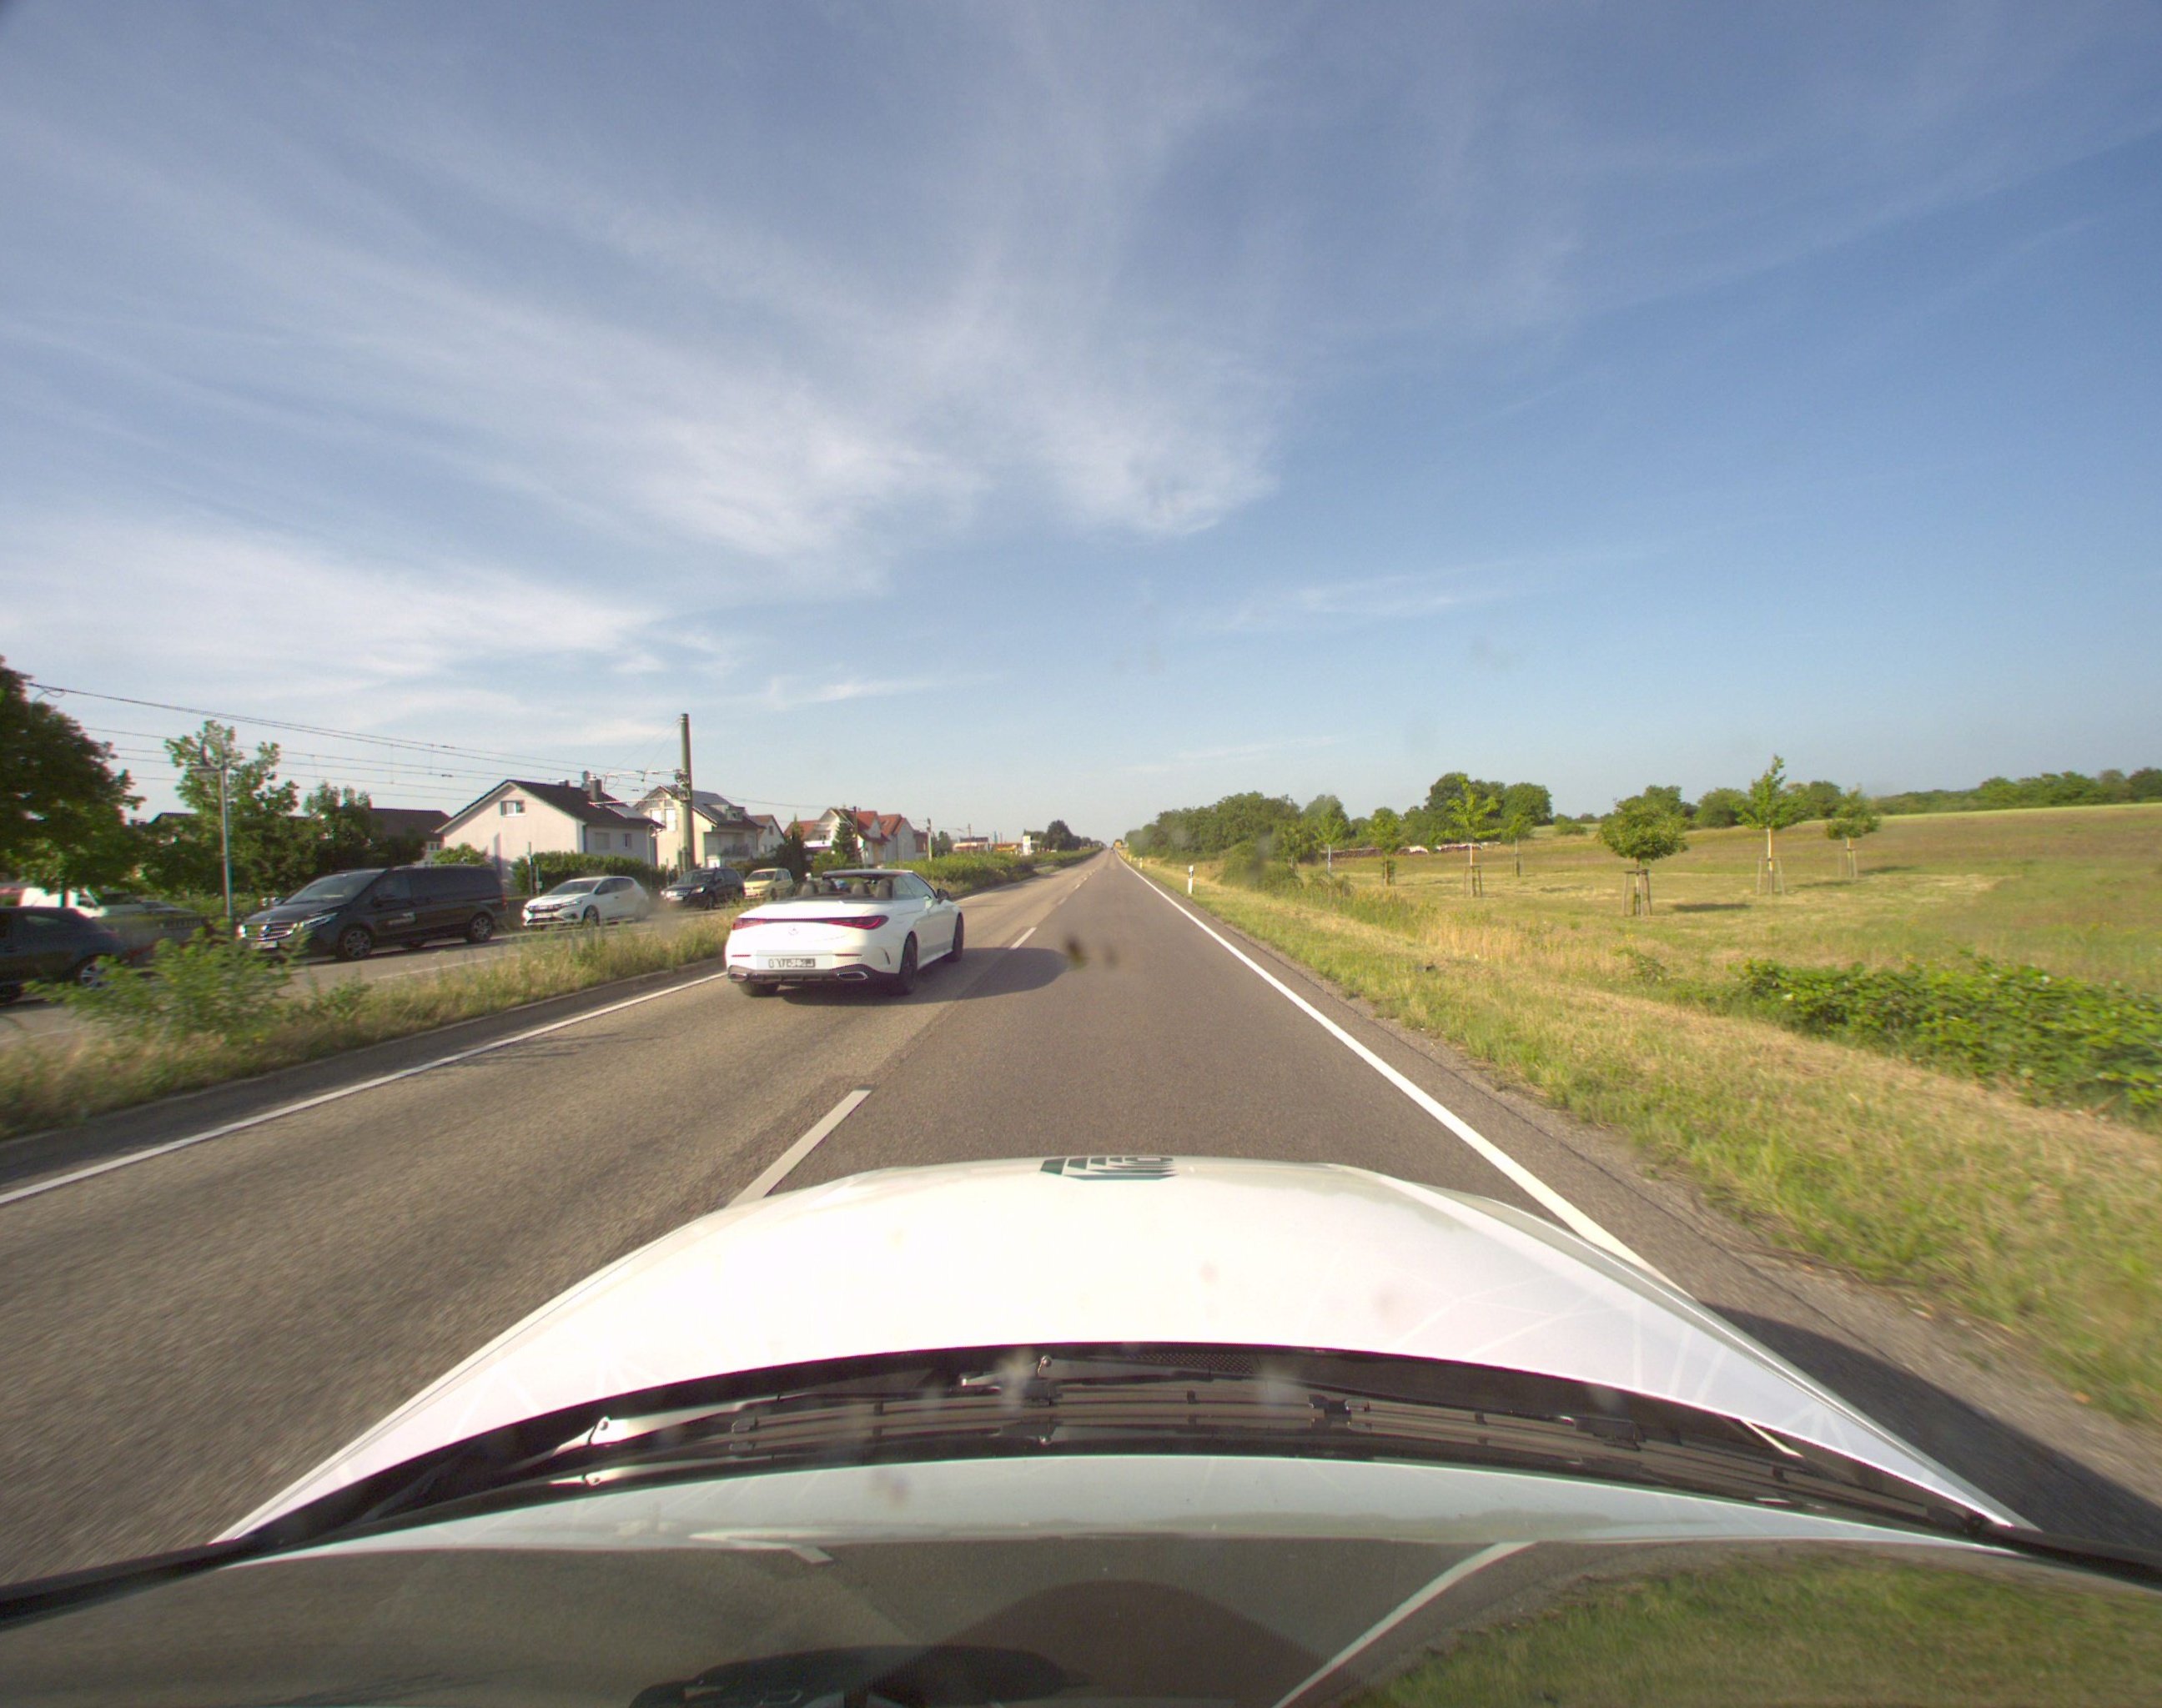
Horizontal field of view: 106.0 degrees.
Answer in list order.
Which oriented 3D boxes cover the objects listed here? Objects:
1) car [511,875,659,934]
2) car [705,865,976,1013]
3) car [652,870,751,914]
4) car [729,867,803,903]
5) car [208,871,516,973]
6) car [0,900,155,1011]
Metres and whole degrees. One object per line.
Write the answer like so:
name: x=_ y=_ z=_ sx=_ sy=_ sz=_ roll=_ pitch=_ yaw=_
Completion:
car: x=-15.109 y=1.478 z=25.146 sx=1.654 sy=1.431 sz=4.450 roll=-4 pitch=0 yaw=2
car: x=-2.650 y=0.852 z=10.340 sx=1.764 sy=1.337 sz=4.953 roll=-1 pitch=0 yaw=2
car: x=-14.874 y=1.453 z=32.206 sx=1.654 sy=1.431 sz=4.328 roll=-4 pitch=0 yaw=2
car: x=-14.966 y=1.442 z=38.928 sx=1.654 sy=1.431 sz=4.328 roll=-4 pitch=0 yaw=2
car: x=-15.421 y=1.336 z=18.020 sx=1.908 sy=1.683 sz=5.256 roll=-4 pitch=0 yaw=2
car: x=-15.791 y=1.508 z=11.053 sx=1.654 sy=1.431 sz=4.058 roll=-4 pitch=0 yaw=2
